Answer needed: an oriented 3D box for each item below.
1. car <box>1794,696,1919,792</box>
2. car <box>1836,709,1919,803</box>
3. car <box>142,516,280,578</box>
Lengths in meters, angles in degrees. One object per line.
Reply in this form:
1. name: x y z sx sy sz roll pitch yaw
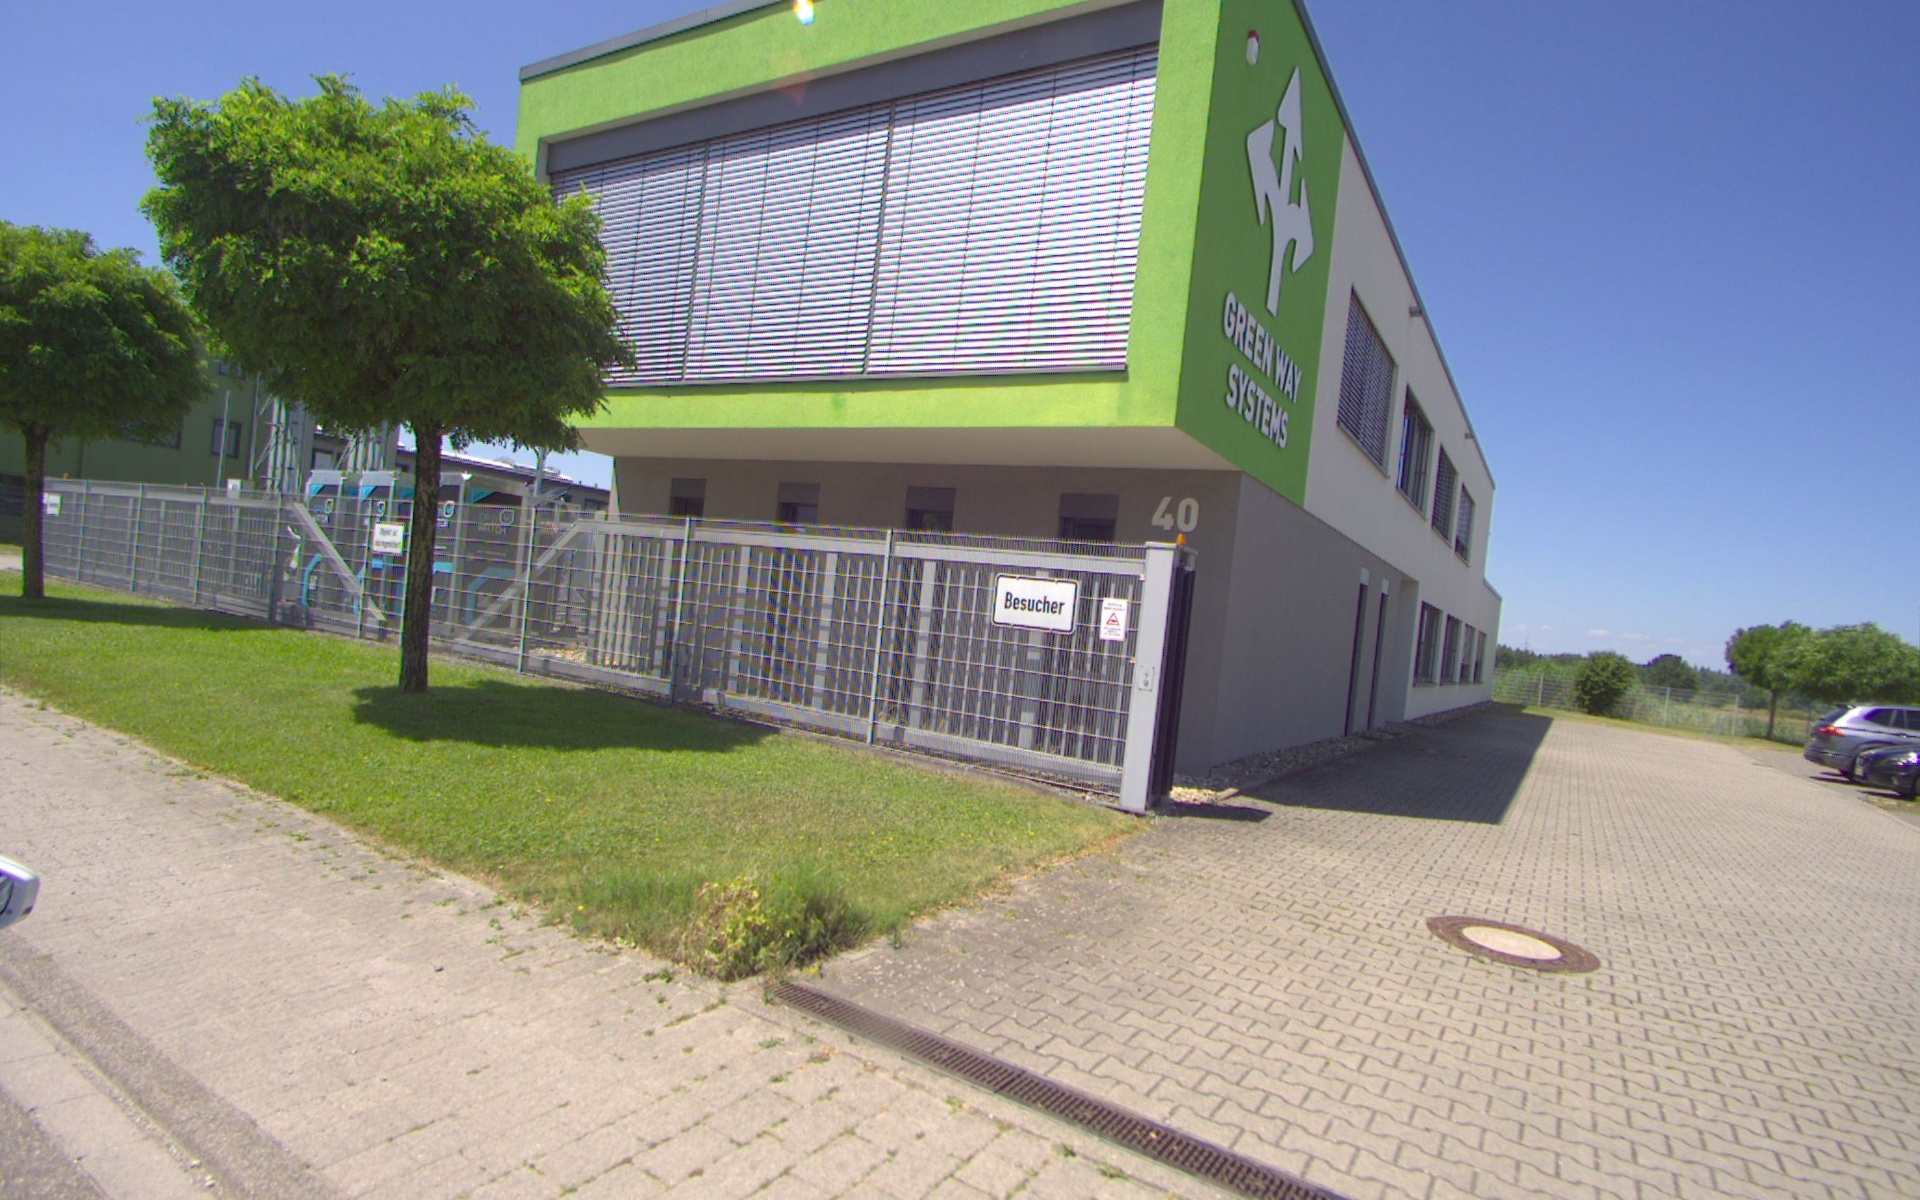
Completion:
1. car: 19.080 2.913 19.629 3.989 1.624 1.740 4 -1 32
2. car: 17.679 2.819 17.009 3.989 1.447 1.740 4 -1 32
3. car: -24.095 -1.702 32.308 4.536 1.456 1.995 7 0 32
